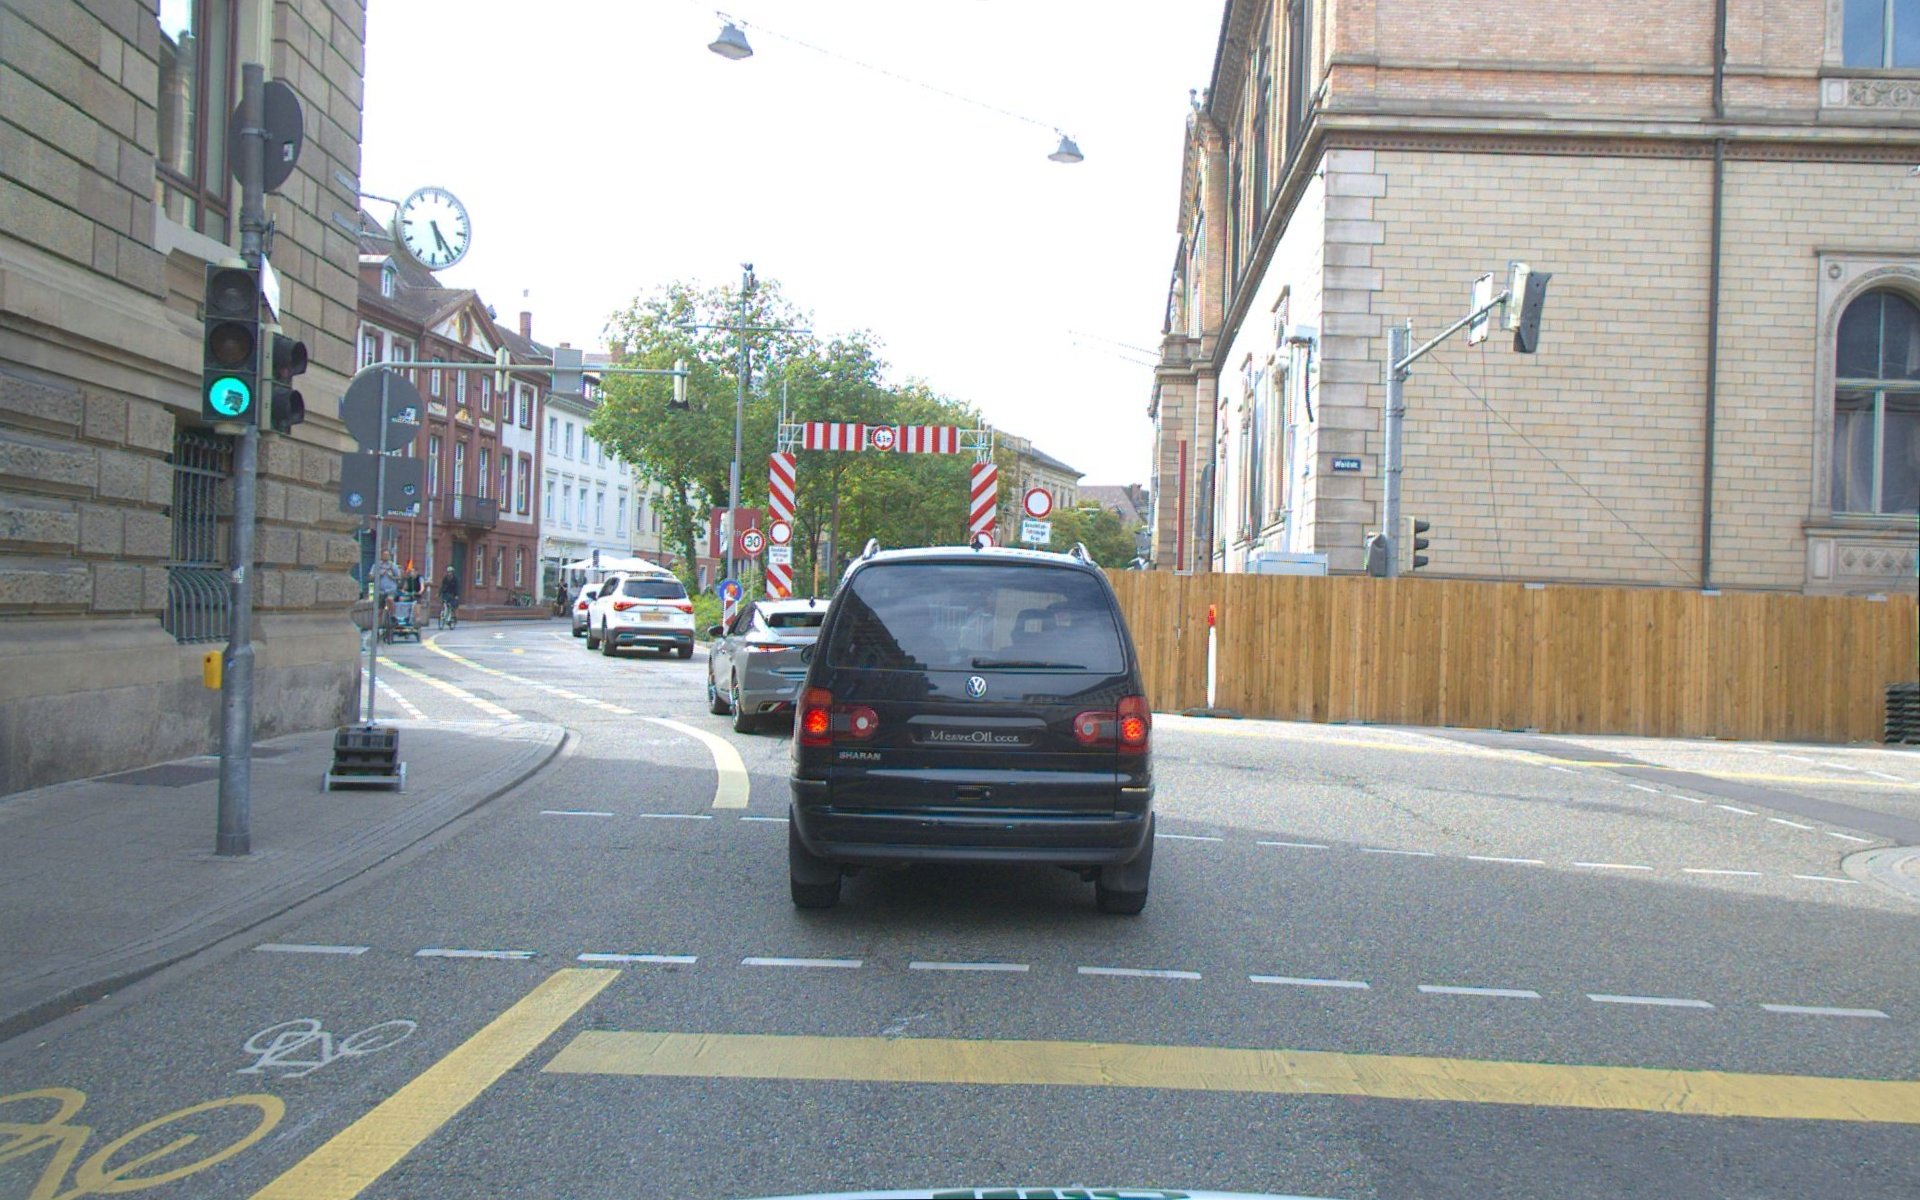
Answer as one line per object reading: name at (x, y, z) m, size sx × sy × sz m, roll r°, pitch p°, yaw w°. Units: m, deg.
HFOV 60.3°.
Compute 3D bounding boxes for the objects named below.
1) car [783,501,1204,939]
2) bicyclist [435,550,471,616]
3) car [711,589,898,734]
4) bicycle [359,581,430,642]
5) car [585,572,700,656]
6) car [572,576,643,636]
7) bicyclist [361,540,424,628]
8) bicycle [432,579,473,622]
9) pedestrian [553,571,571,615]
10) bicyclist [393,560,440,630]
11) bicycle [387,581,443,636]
car at (0.099, 0.525, 9.130) m, size 1.753 × 1.821 × 4.102 m, roll 2°, pitch 0°, yaw -1°
bicyclist at (-15.690, -0.510, 51.186) m, size 0.909 × 1.997 × 1.102 m, roll 1°, pitch -1°, yaw -11°
car at (-1.933, 0.652, 19.509) m, size 1.649 × 1.495 × 4.090 m, roll 2°, pitch 0°, yaw -13°
bicycle at (-12.401, 0.251, 36.377) m, size 1.037 × 1.277 × 3.032 m, roll 1°, pitch 0°, yaw -11°
car at (-6.628, 0.280, 34.260) m, size 1.747 × 1.613 × 3.977 m, roll 1°, pitch 0°, yaw -19°
car at (-9.758, 0.162, 45.622) m, size 1.675 × 1.527 × 3.984 m, roll 1°, pitch 0°, yaw -15°
bicyclist at (-12.353, -0.344, 36.069) m, size 1.071 × 1.856 × 1.361 m, roll 1°, pitch -1°, yaw -11°
bicycle at (-15.724, 0.025, 51.287) m, size 0.909 × 1.277 × 2.534 m, roll 1°, pitch 0°, yaw -11°
pedestrian at (-18.620, -0.322, 77.426) m, size 0.573 × 2.049 × 0.687 m, roll 1°, pitch -1°, yaw 6°
bicyclist at (-13.130, -0.111, 39.968) m, size 0.909 × 1.637 × 1.061 m, roll 1°, pitch -1°, yaw -11°
bicycle at (-13.112, 0.202, 39.862) m, size 0.909 × 1.277 × 2.534 m, roll 1°, pitch 0°, yaw -11°
